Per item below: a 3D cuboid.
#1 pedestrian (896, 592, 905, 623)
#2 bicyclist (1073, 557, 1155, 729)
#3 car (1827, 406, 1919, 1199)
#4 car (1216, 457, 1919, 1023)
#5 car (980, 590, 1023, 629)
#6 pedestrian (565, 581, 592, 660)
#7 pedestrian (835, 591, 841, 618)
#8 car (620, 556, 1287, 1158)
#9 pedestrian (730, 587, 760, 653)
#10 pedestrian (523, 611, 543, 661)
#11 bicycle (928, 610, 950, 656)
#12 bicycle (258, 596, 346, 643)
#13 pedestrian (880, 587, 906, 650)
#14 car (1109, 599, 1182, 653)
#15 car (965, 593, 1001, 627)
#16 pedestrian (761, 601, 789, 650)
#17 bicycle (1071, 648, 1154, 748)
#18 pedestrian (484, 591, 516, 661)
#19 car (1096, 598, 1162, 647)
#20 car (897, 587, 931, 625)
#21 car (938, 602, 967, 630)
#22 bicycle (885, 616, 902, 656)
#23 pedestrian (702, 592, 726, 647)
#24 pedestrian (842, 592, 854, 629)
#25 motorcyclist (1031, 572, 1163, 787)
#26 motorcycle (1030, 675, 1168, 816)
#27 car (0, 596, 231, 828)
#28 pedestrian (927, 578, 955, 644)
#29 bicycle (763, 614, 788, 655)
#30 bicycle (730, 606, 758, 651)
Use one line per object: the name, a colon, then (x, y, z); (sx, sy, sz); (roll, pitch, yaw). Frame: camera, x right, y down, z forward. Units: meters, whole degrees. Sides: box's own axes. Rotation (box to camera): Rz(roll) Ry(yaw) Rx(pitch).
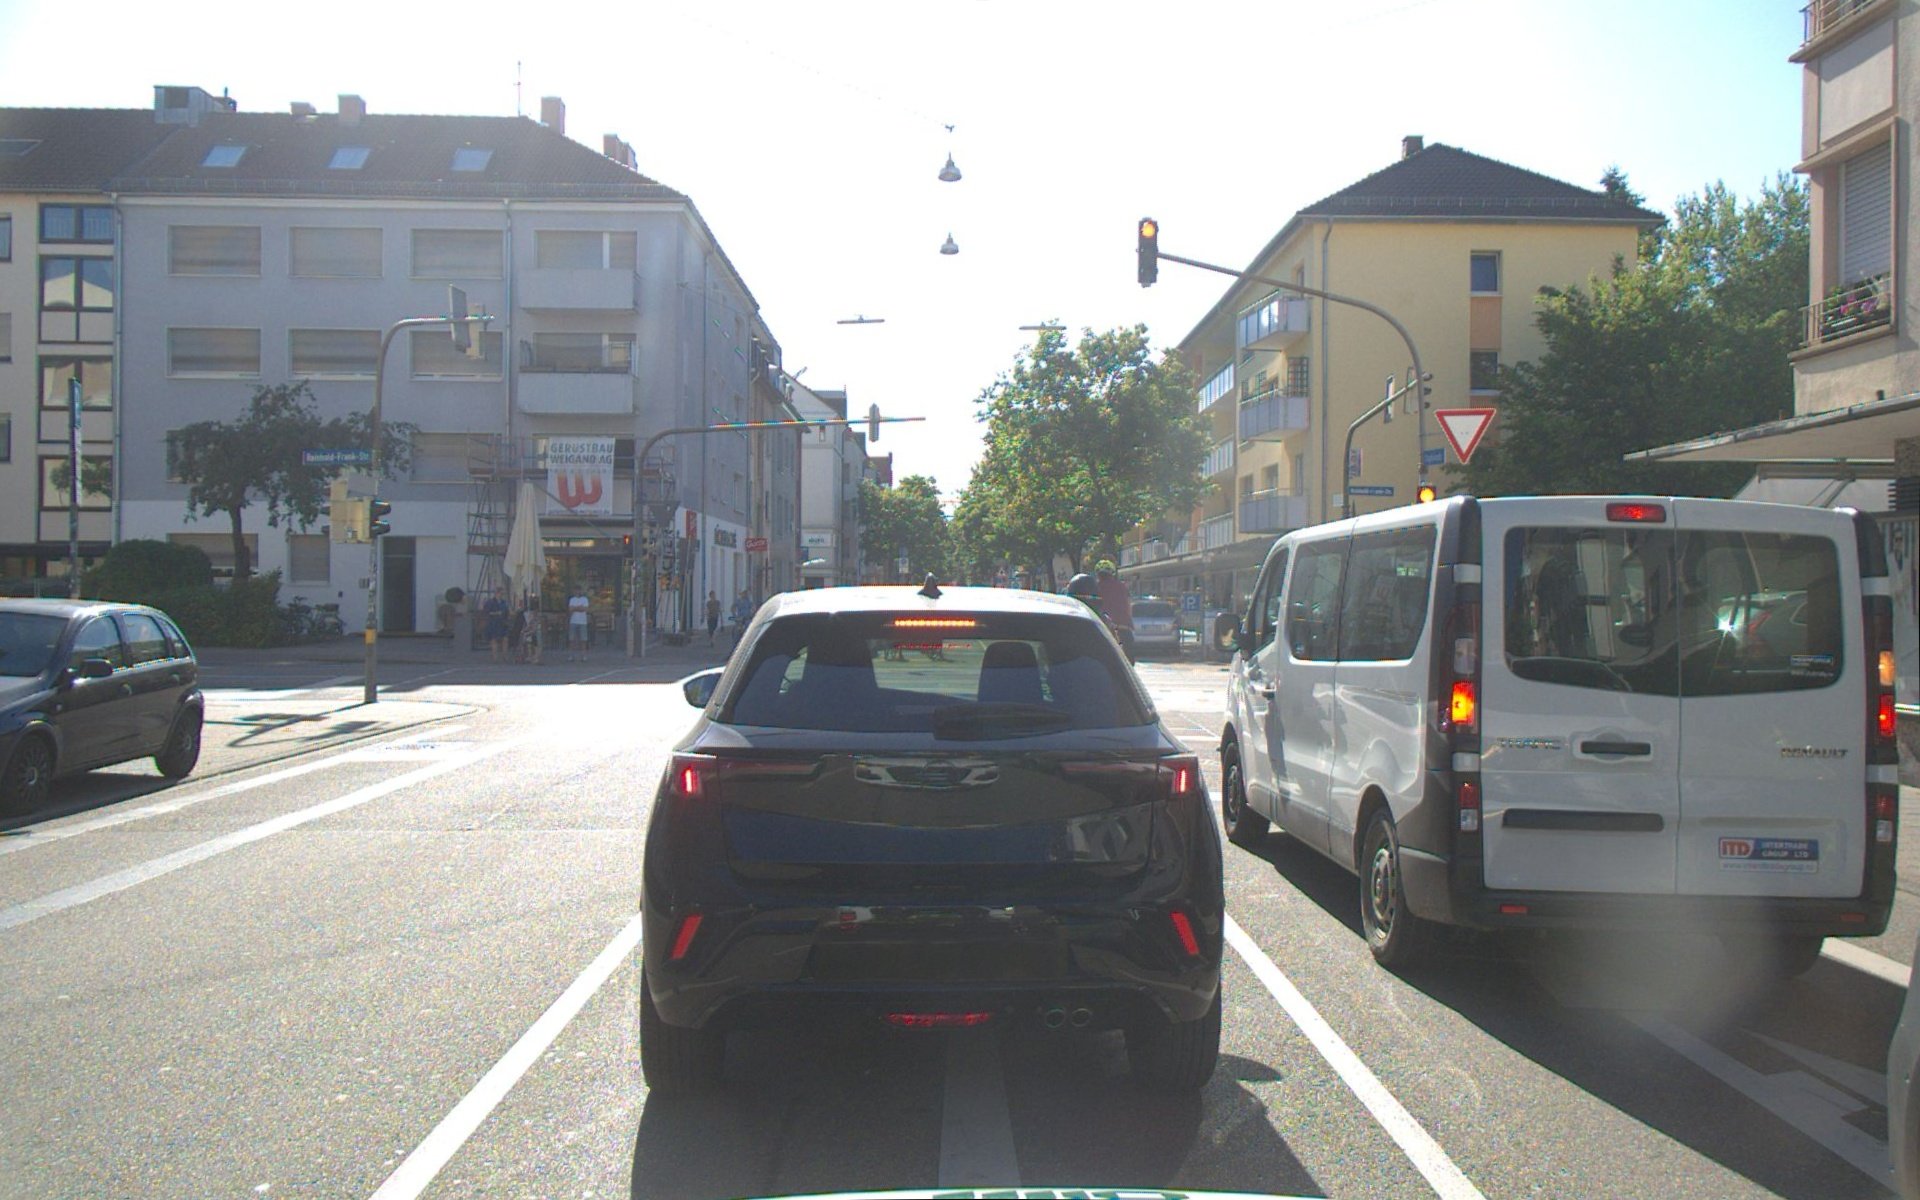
pedestrian: (-3.352, 0.411, 93.370); (0.478, 1.719, 0.588); (0, 0, -1)
bicyclist: (1.609, 0.435, 17.472); (0.675, 1.742, 1.413); (0, 0, -3)
car: (2.995, 0.573, 1.251); (1.800, 1.901, 4.992); (1, 0, -4)
car: (2.722, 0.508, 8.490); (1.953, 2.014, 4.894); (2, 0, -1)
car: (1.891, 0.412, 76.287); (1.863, 1.758, 4.073); (0, 0, 0)
pedestrian: (-8.741, 0.462, 37.930); (0.550, 1.806, 0.582); (1, 0, -9)
pedestrian: (-7.870, 0.294, 106.877); (0.394, 1.704, 0.417); (0, 0, -1)
car: (-0.095, 0.665, 6.325); (1.735, 1.557, 3.998); (1, 0, -3)
pedestrian: (-5.653, 0.523, 43.544); (0.692, 1.707, 0.802); (0, 0, -3)
pedestrian: (-9.615, 0.801, 37.241); (0.348, 1.111, 0.461); (0, 0, -4)
bicycle: (-0.554, 0.857, 43.686); (0.511, 1.167, 2.169); (0, 0, -3)
bicycle: (-16.913, 0.490, 42.531); (2.067, 1.193, 0.735); (0, 0, -25)
pedestrian: (-1.772, 0.481, 43.702); (0.666, 1.634, 0.762); (0, 0, -3)
car: (5.259, 0.712, 47.318); (1.601, 1.458, 3.956); (0, 0, -1)
car: (1.203, 0.506, 89.221); (1.863, 1.758, 4.000); (0, 0, 0)
pedestrian: (-4.863, 0.659, 43.496); (0.692, 1.275, 0.802); (0, 0, -3)
bicycle: (1.596, 1.013, 17.631); (0.565, 0.920, 2.300); (0, 0, -3)
pedestrian: (-10.355, 0.583, 37.253); (0.573, 1.547, 0.649); (0, 0, -4)
car: (5.267, 0.688, 51.924); (1.601, 1.458, 3.999); (0, 0, -1)
car: (-2.550, 0.319, 91.712); (1.817, 2.049, 3.880); (0, 0, -1)
car: (-0.468, 1.044, 107.115); (1.787, 1.758, 4.000); (0, 0, 1)
bicycle: (-1.771, 0.938, 43.816); (0.434, 1.010, 2.068); (0, 0, -3)
pedestrian: (-7.045, 0.555, 47.356); (0.605, 1.547, 0.724); (0, 0, -4)
pedestrian: (-5.349, 0.497, 78.902); (0.558, 1.719, 0.588); (0, 0, -1)
motorcyclist: (1.002, 0.567, 12.351); (0.846, 1.528, 1.159); (0, 0, -2)
motorcycle: (0.982, 1.030, 12.149); (0.808, 0.860, 1.884); (0, 0, -1)
car: (-7.084, 0.730, 12.427); (1.584, 1.450, 3.709); (2, 0, -1)
pedestrian: (-0.510, 0.292, 43.601); (0.692, 1.731, 0.802); (0, 0, -3)
bicycle: (-4.864, 0.896, 43.696); (0.511, 1.010, 2.338); (0, 0, -3)
bicycle: (-5.712, 0.738, 43.812); (0.511, 1.167, 2.282); (0, 0, -3)
